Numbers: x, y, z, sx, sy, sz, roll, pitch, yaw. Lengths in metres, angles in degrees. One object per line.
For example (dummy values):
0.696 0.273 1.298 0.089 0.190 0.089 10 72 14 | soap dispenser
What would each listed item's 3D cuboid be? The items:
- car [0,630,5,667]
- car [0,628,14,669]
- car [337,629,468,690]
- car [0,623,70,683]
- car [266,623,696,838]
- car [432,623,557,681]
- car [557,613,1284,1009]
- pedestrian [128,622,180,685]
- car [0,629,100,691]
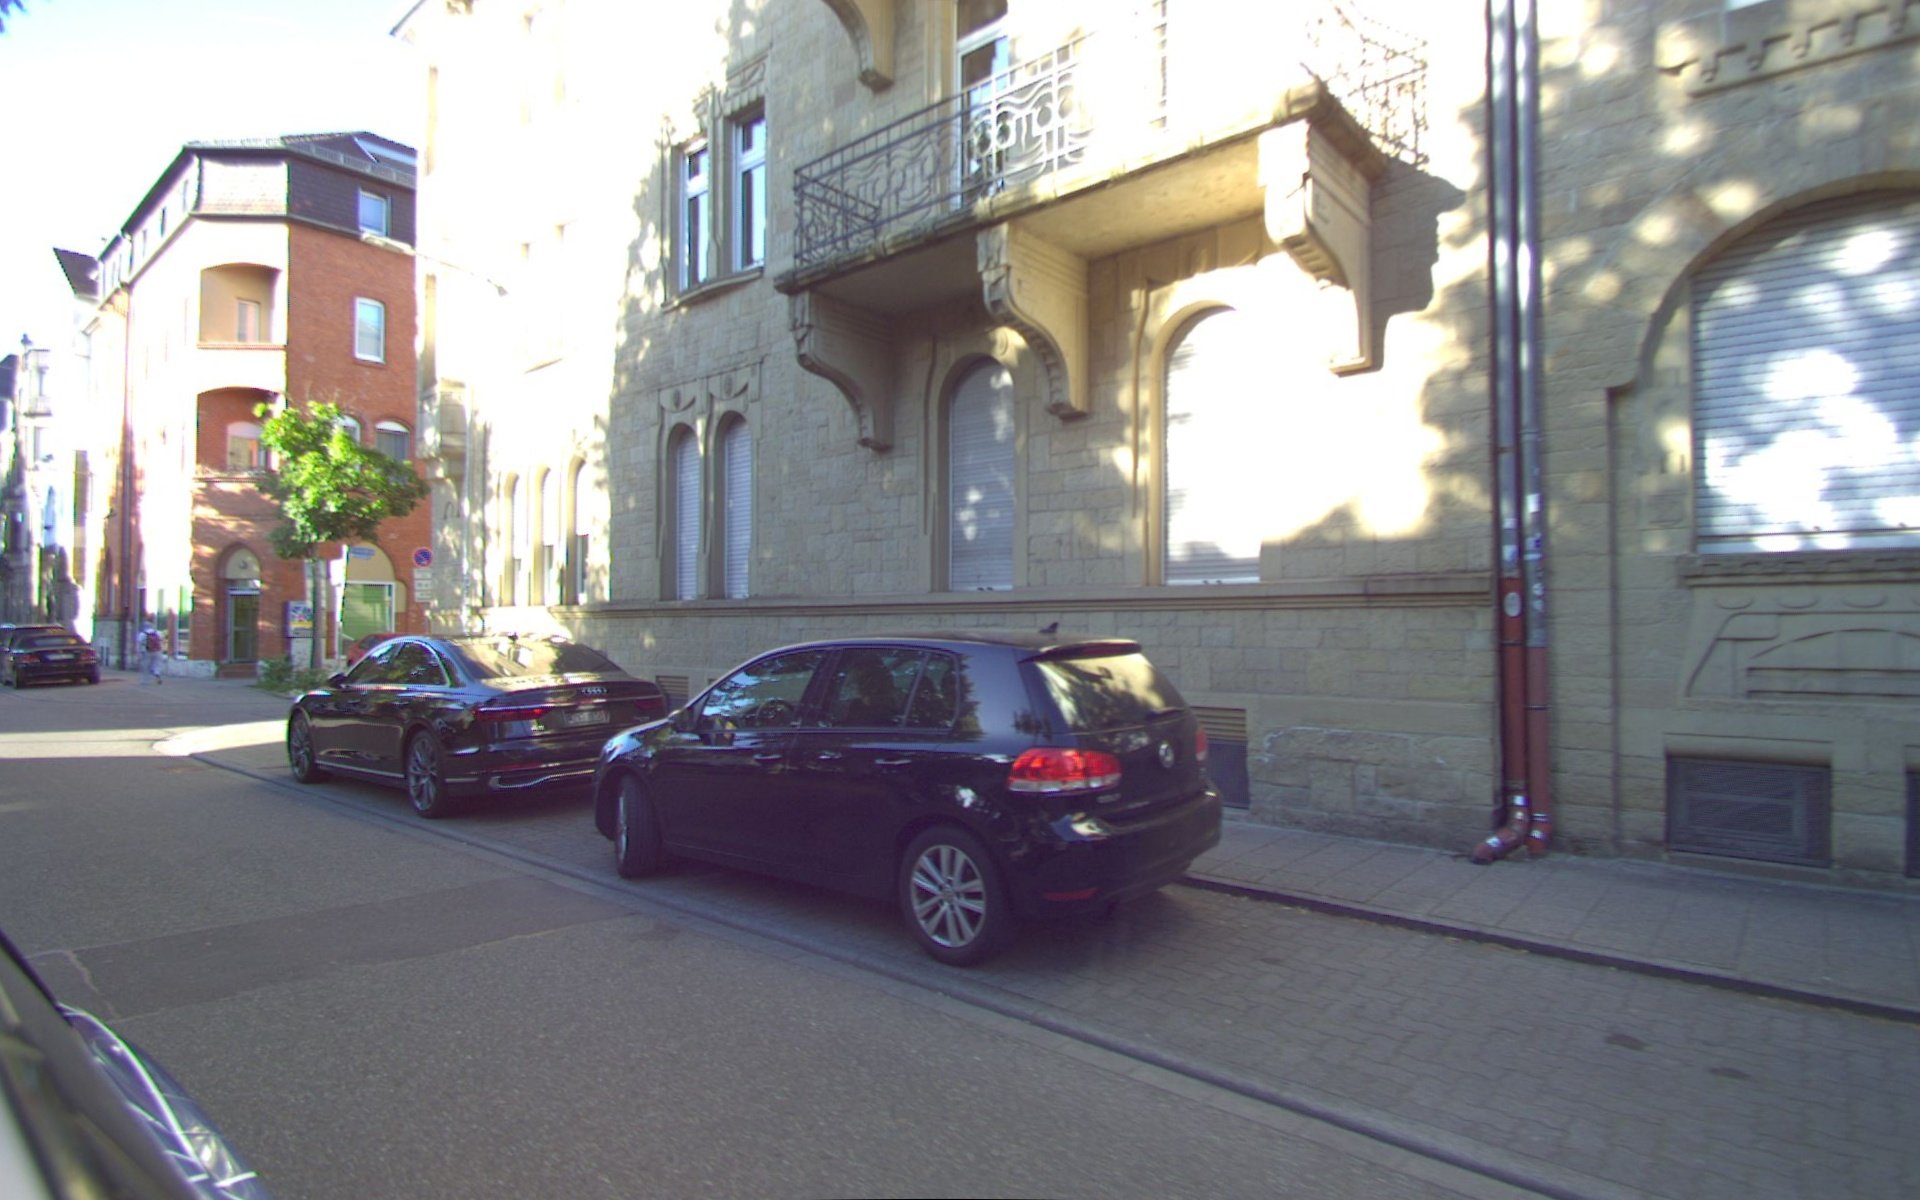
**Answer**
-39.687 1.964 40.522 4.108 1.454 1.660 -2 -1 40 | car
-35.919 1.790 37.122 3.591 1.481 1.549 -2 -2 43 | car
-15.017 1.530 27.159 4.656 1.480 1.618 -1 -1 41 | car
-28.681 1.561 30.835 4.346 1.693 1.653 -1 -1 39 | car
-4.658 0.973 9.426 4.895 1.437 1.792 -1 0 41 | car
-13.431 1.464 29.115 4.210 1.562 1.695 -2 -3 41 | car
-0.444 0.818 5.712 4.024 1.464 1.679 -1 -2 40 | car
-21.170 1.377 26.582 1.053 1.589 0.879 1 0 41 | pedestrian
-24.481 1.543 27.079 4.331 1.421 1.618 -1 0 41 | car
